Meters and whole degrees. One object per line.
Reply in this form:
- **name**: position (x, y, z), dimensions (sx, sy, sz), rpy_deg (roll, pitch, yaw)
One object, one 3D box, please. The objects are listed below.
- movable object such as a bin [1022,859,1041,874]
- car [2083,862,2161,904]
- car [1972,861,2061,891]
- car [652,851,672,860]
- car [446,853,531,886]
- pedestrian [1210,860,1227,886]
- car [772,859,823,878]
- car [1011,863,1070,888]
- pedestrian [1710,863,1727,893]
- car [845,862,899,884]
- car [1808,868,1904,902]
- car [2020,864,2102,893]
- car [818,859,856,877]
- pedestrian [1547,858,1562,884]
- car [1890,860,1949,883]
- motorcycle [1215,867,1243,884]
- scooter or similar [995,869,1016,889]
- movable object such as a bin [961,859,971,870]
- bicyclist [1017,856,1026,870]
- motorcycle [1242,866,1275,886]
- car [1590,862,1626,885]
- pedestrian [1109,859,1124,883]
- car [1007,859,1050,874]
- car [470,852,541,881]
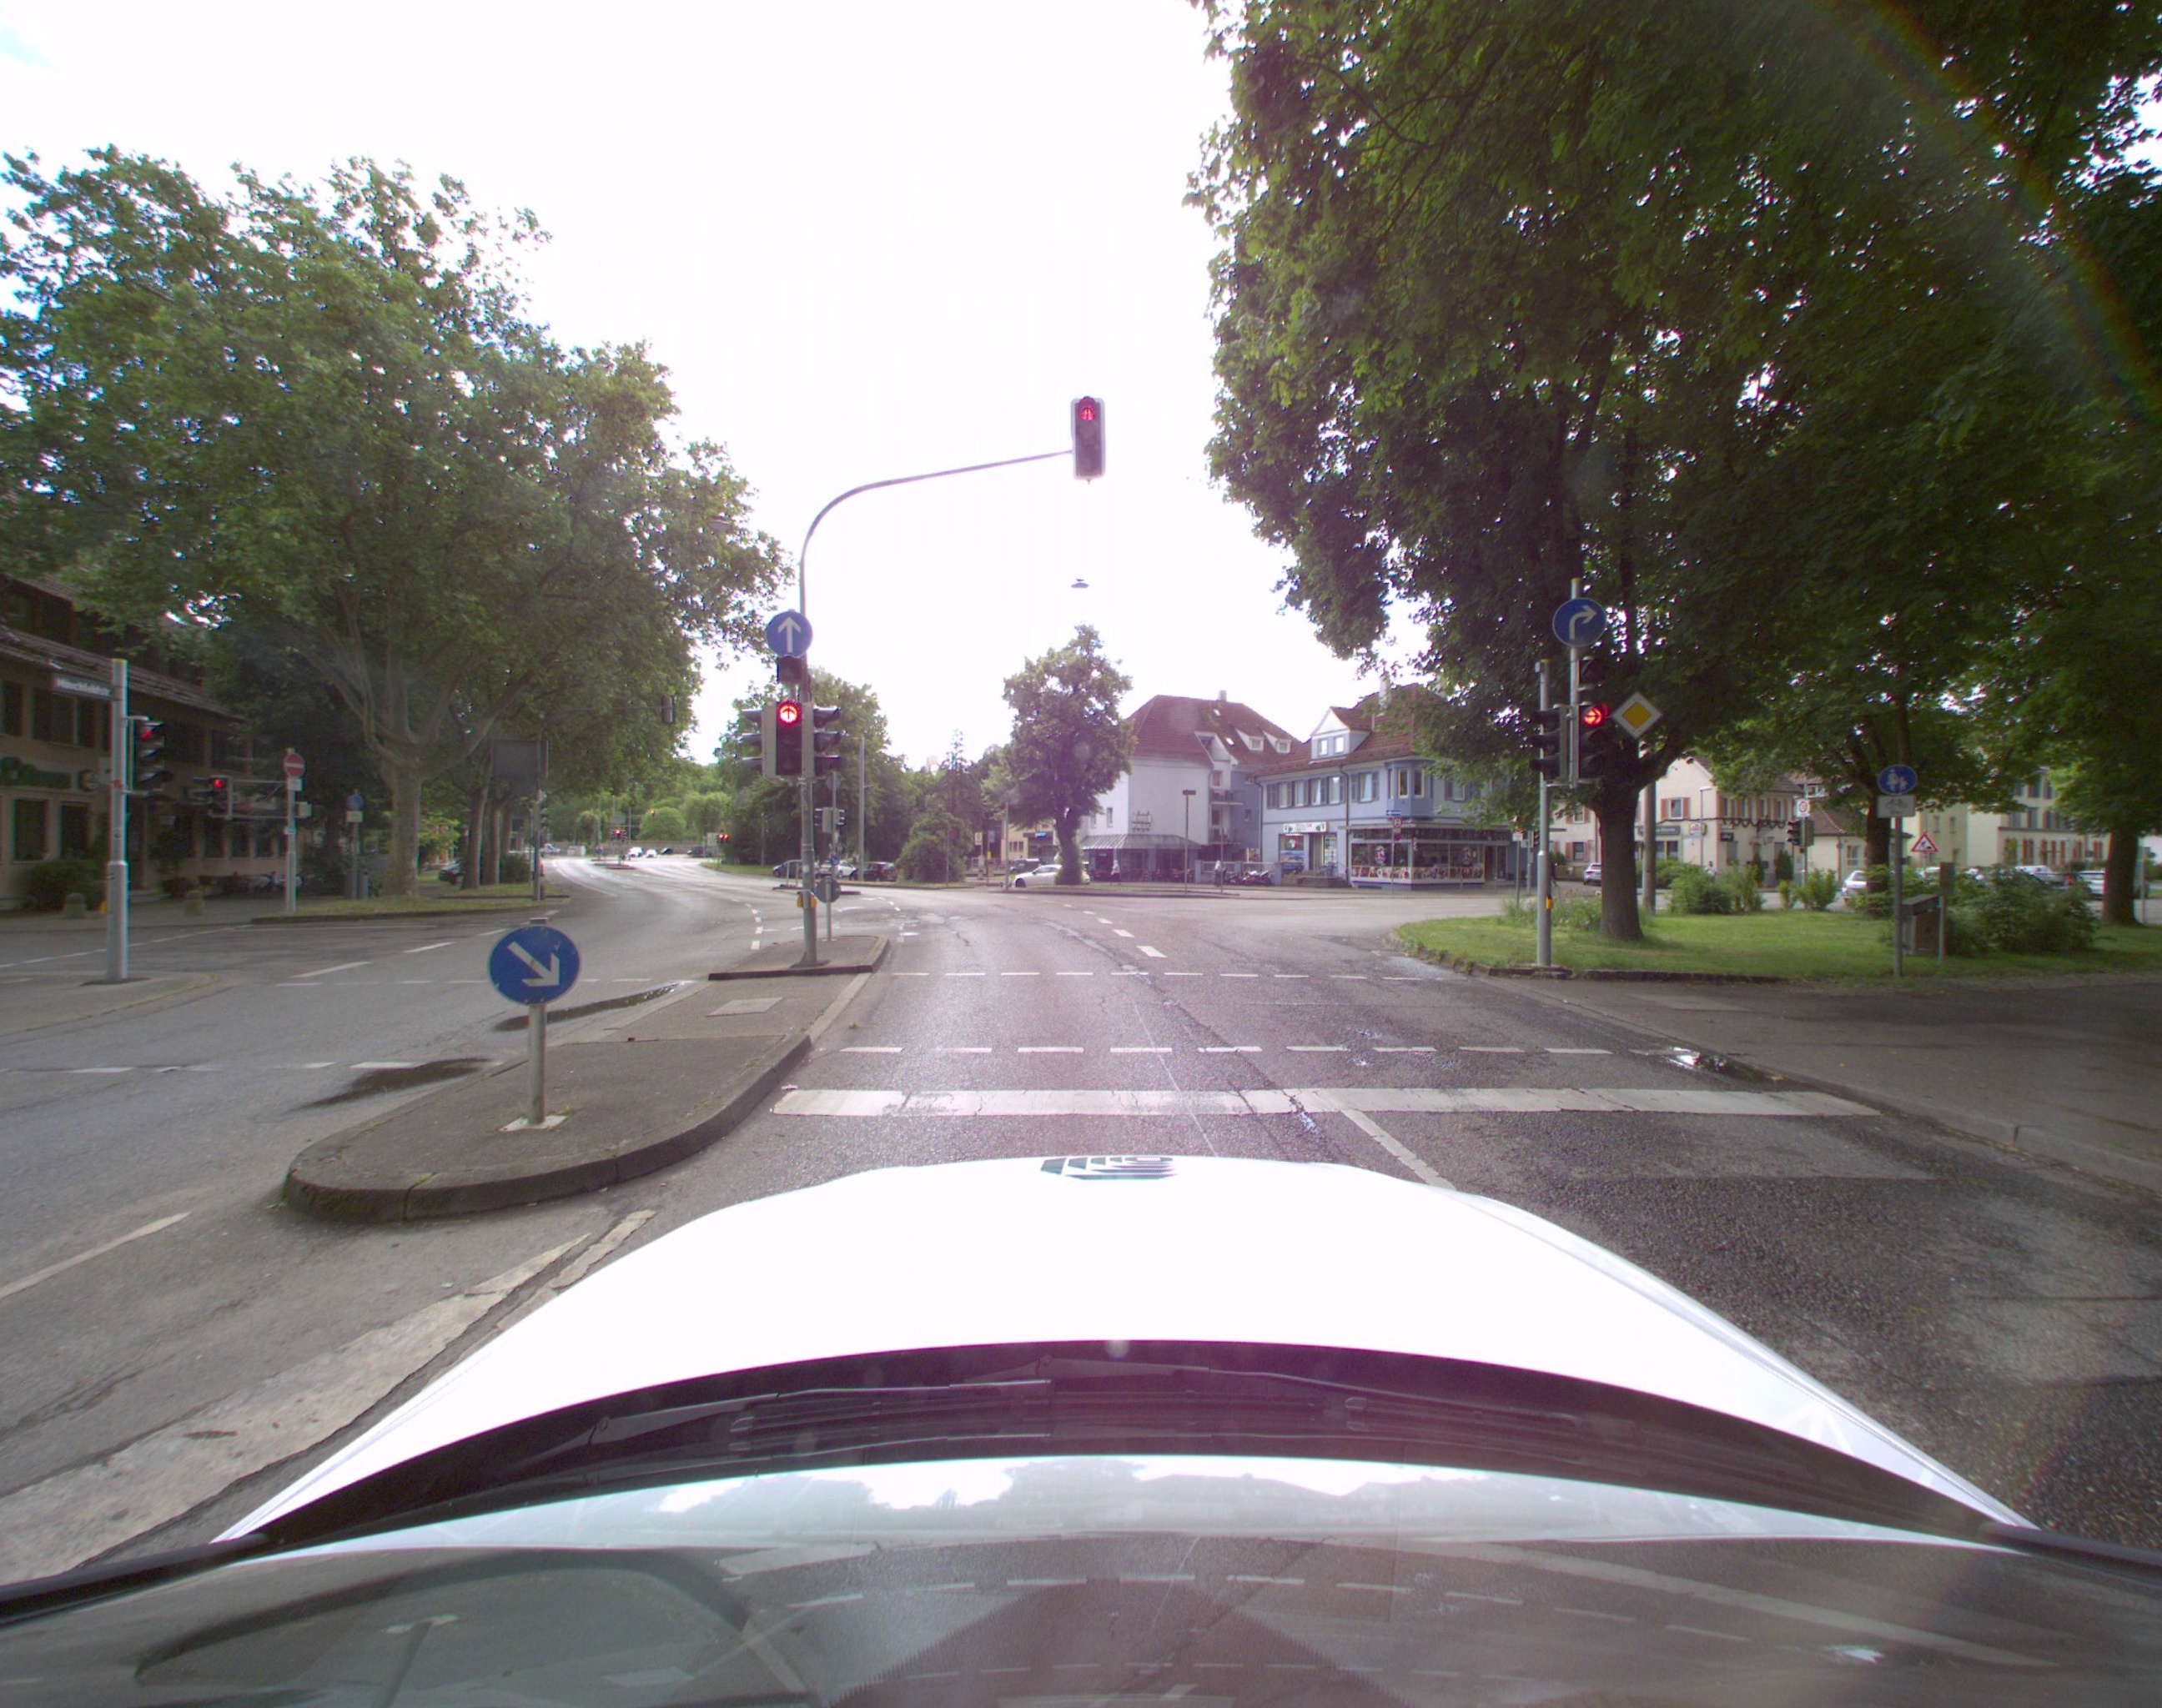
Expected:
- **movable object such as a bin**: position (-4.524, 1.132, 74.253), dimensions (1.447, 1.409, 0.959), rpy_deg (0, -1, -25)
- **car**: position (52.829, 1.431, 41.128), dimensions (4.004, 2.014, 1.770), rpy_deg (0, -1, -23)
- **car**: position (42.214, 0.973, 36.755), dimensions (3.510, 1.321, 1.549), rpy_deg (0, 0, -21)
- **car**: position (-95.495, 0.435, 185.611), dimensions (4.011, 2.014, 1.981), rpy_deg (0, -1, -29)
- **car**: position (-31.003, 0.785, 42.723), dimensions (3.461, 1.641, 1.557), rpy_deg (0, -1, -31)
- **pedestrian**: position (8.227, 1.127, 48.642), dimensions (0.759, 1.545, 0.682), rpy_deg (-1, -1, 41)
- **car**: position (-22.439, 1.114, 64.490), dimensions (3.520, 1.464, 1.591), rpy_deg (0, 0, 14)
- **car**: position (-2.310, 1.201, 46.243), dimensions (3.134, 1.354, 1.448), rpy_deg (0, -1, 36)
- **pedestrian**: position (35.216, 1.336, 44.976), dimensions (0.612, 1.649, 0.605), rpy_deg (0, -1, -35)
- **car**: position (-13.908, 1.266, 54.210), dimensions (3.549, 1.394, 1.481), rpy_deg (0, -1, 34)
- **car**: position (31.961, 1.249, 33.571), dimensions (3.511, 1.321, 1.549), rpy_deg (0, 0, -22)
- **car**: position (47.001, 1.163, 39.062), dimensions (3.511, 1.321, 1.549), rpy_deg (0, 0, -22)
- **car**: position (-20.081, 1.130, 67.192), dimensions (1.534, 1.464, 3.407), rpy_deg (0, 0, 13)
- **pedestrian**: position (27.177, 0.973, 46.752), dimensions (0.459, 1.517, 0.584), rpy_deg (0, -1, -19)
- **car**: position (55.114, 1.122, 53.532), dimensions (4.007, 1.420, 1.544), rpy_deg (0, 0, -26)
- **motorcycle**: position (9.112, 1.312, 50.082), dimensions (0.699, 1.064, 1.617), rpy_deg (0, -1, -44)
- **scooter or similar**: position (-3.979, 1.289, 42.886), dimensions (0.413, 1.011, 1.575), rpy_deg (-1, -1, 22)
- **movable object such as a bin**: position (-12.222, 1.118, 86.644), dimensions (0.953, 1.115, 0.381), rpy_deg (0, -1, -19)
- **bicyclist**: position (-6.214, 0.941, 85.080), dimensions (0.739, 1.541, 0.596), rpy_deg (0, -1, -17)
- **motorcycle**: position (10.533, 1.286, 48.267), dimensions (1.777, 1.121, 0.699), rpy_deg (0, -1, 40)
- **car**: position (32.601, 1.181, 50.344), dimensions (1.481, 1.369, 3.198), rpy_deg (-1, -1, 40)
- **pedestrian**: position (2.284, 1.131, 53.077), dimensions (0.699, 1.545, 0.682), rpy_deg (-1, -1, 42)
- **car**: position (-4.882, 1.133, 76.161), dimensions (3.752, 1.345, 1.422), rpy_deg (0, 0, -25)
- **car**: position (-35.486, 0.758, 50.289), dimensions (3.461, 1.742, 1.557), rpy_deg (0, -1, -31)
